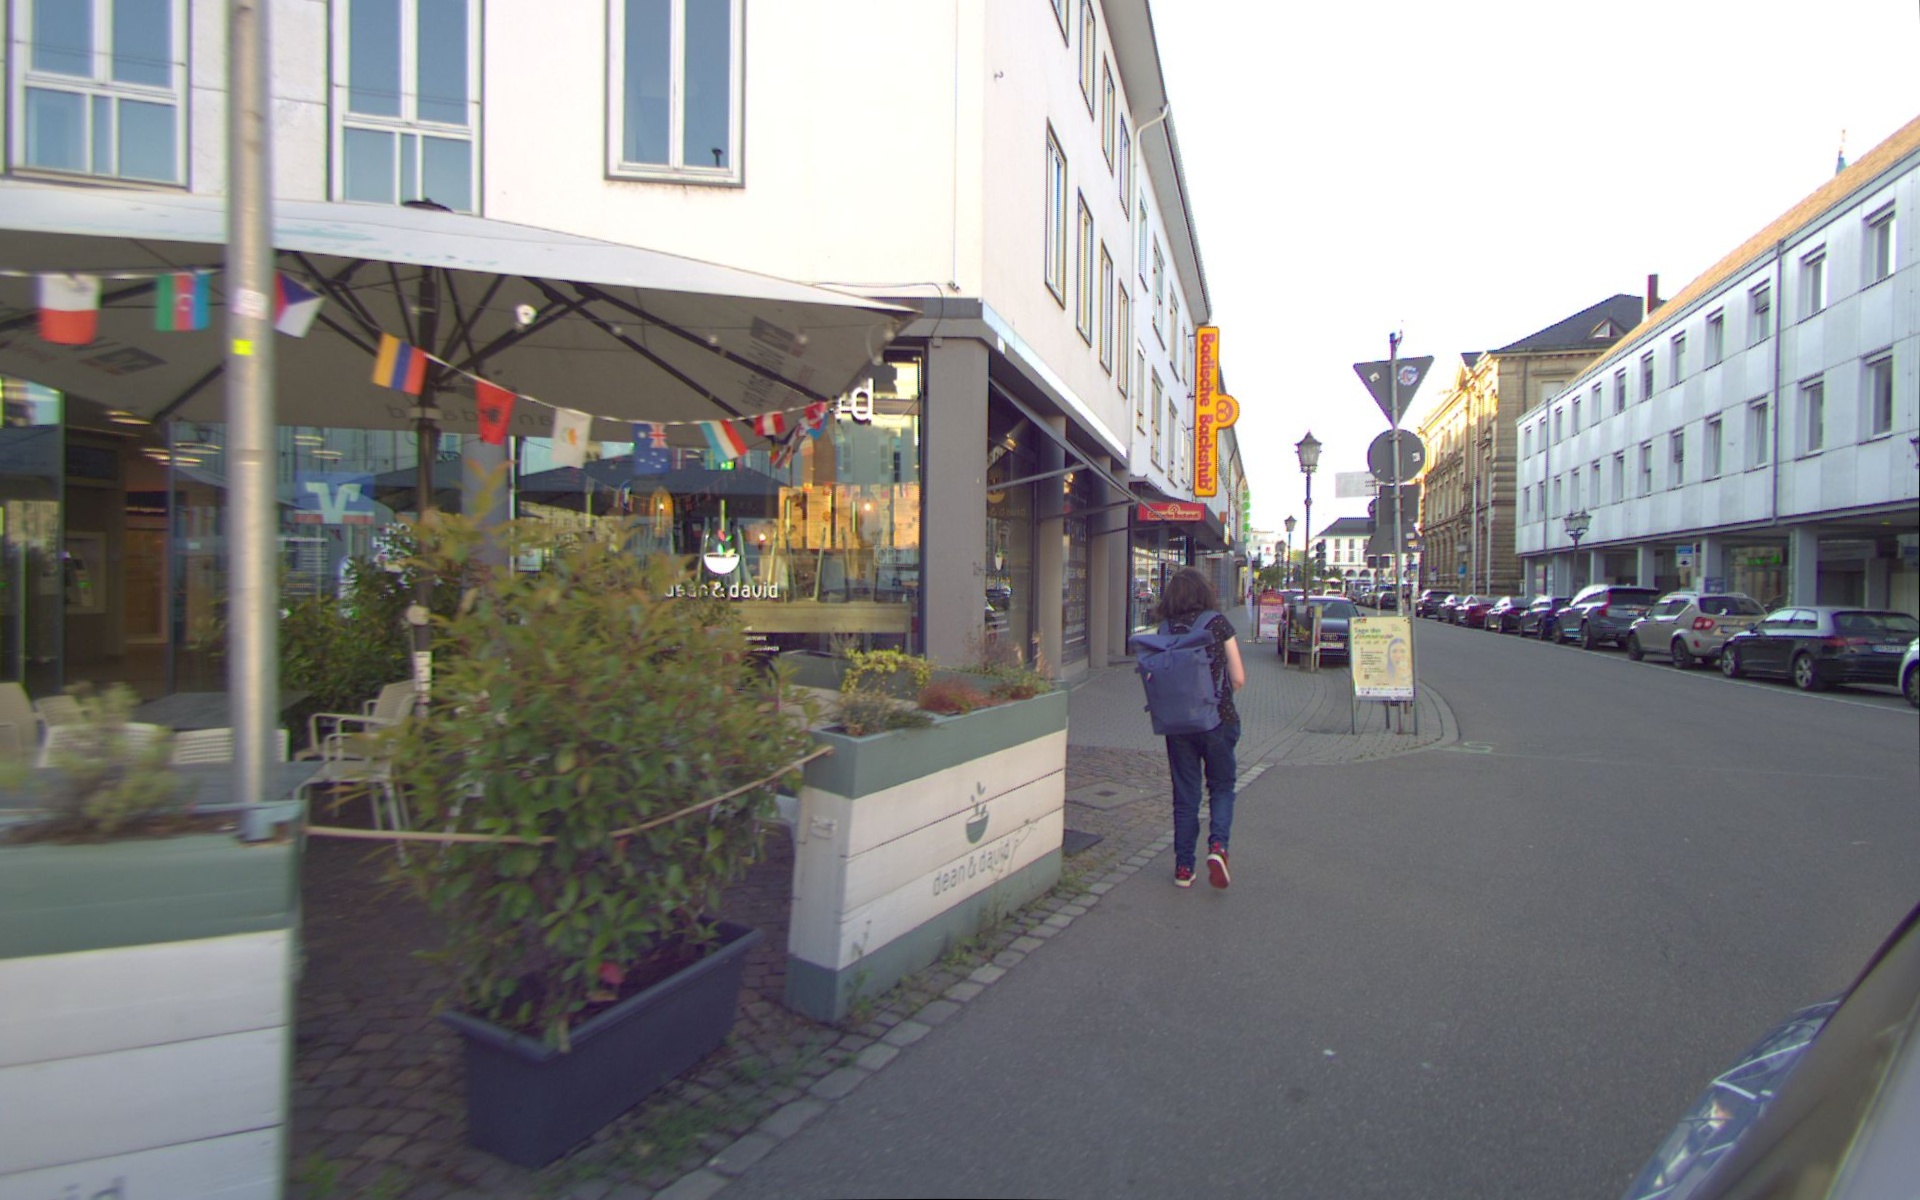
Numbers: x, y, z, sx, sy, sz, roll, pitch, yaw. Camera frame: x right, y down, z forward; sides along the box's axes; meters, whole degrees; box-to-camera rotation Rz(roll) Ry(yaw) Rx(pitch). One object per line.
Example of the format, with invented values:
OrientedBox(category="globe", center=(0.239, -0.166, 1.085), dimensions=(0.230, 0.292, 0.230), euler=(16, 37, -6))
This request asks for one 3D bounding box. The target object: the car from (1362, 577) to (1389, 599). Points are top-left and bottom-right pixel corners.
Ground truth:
OrientedBox(category="car", center=(39.799, -1.183, 97.011), dimensions=(1.974, 2.113, 5.177), euler=(1, 1, 18))

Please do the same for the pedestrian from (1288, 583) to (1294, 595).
OrientedBox(category="pedestrian", center=(44.416, -1.460, 135.880), dimensions=(0.674, 1.586, 0.649), euler=(0, 0, 16))

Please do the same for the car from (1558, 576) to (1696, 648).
OrientedBox(category="car", center=(18.210, 0.256, 27.872), dimensions=(1.974, 1.749, 4.490), euler=(2, 1, 18))

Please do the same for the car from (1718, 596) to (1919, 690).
OrientedBox(category="car", center=(14.886, 0.640, 17.305), dimensions=(1.659, 1.370, 4.086), euler=(0, 1, 15))

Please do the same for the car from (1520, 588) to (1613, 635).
OrientedBox(category="car", center=(19.831, 0.331, 33.262), dimensions=(1.656, 1.417, 3.979), euler=(1, 1, 17))

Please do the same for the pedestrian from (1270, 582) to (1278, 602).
OrientedBox(category="pedestrian", center=(28.851, -0.714, 93.020), dimensions=(0.615, 1.812, 0.907), euler=(0, 0, 22))

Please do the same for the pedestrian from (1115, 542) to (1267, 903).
OrientedBox(category="pedestrian", center=(1.179, 0.556, 5.101), dimensions=(0.683, 1.668, 0.692), euler=(1, 0, 18))

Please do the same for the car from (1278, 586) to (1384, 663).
OrientedBox(category="car", center=(8.046, 0.458, 22.278), dimensions=(1.781, 1.482, 4.098), euler=(1, 1, 15))

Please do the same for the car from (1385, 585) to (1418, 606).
OrientedBox(category="car", center=(34.579, -0.395, 79.405), dimensions=(1.974, 1.513, 4.141), euler=(1, 1, 18))

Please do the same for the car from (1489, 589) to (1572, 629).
OrientedBox(category="car", center=(21.692, 0.306, 38.640), dimensions=(1.974, 1.371, 3.977), euler=(2, 2, 18))

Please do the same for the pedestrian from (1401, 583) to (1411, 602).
OrientedBox(category="pedestrian", center=(40.547, -0.681, 91.980), dimensions=(0.706, 1.752, 0.891), euler=(-2, -1, 19))

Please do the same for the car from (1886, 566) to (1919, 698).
OrientedBox(category="car", center=(13.993, 0.475, 12.173), dimensions=(1.968, 1.838, 4.769), euler=(0, 1, 11))

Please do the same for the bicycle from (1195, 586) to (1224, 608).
OrientedBox(category="bicycle", center=(14.662, -0.194, 59.382), dimensions=(1.639, 1.268, 0.437), euler=(0, 0, 16))

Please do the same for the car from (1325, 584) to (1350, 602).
OrientedBox(category="car", center=(33.376, -0.640, 89.581), dimensions=(1.745, 1.439, 3.979), euler=(2, 1, 17))

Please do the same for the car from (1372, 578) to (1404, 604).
OrientedBox(category="car", center=(36.205, -0.803, 85.765), dimensions=(1.973, 2.103, 4.964), euler=(1, 2, 17))

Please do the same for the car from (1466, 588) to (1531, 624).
OrientedBox(category="car", center=(23.107, 0.233, 43.551), dimensions=(1.767, 1.426, 4.064), euler=(1, 1, 18))

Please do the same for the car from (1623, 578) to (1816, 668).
OrientedBox(category="car", center=(16.203, 0.399, 21.871), dimensions=(1.972, 1.682, 3.981), euler=(2, 2, 16))

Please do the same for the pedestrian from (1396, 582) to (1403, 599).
OrientedBox(category="pedestrian", center=(44.944, -0.991, 103.567), dimensions=(0.601, 1.751, 0.698), euler=(0, 0, 19))

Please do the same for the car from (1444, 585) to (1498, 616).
OrientedBox(category="car", center=(24.936, 0.007, 49.528), dimensions=(1.767, 1.426, 4.064), euler=(1, 1, 18))

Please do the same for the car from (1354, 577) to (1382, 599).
OrientedBox(category="car", center=(41.674, -1.269, 103.513), dimensions=(1.971, 2.198, 5.183), euler=(0, 1, 15))

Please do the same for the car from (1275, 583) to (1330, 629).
OrientedBox(category="car", center=(12.081, 0.176, 35.807), dimensions=(1.742, 1.542, 3.656), euler=(0, 1, 18))

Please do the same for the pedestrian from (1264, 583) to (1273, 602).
OrientedBox(category="pedestrian", center=(28.825, -0.710, 94.521), dimensions=(0.707, 1.751, 0.867), euler=(0, 0, 20))

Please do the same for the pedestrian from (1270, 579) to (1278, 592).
OrientedBox(category="pedestrian", center=(43.760, -1.983, 141.148), dimensions=(0.750, 1.751, 0.669), euler=(0, 0, -29))

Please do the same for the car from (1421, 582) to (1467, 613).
OrientedBox(category="car", center=(26.690, -0.176, 55.897), dimensions=(1.767, 1.635, 4.141), euler=(1, 1, 18))
